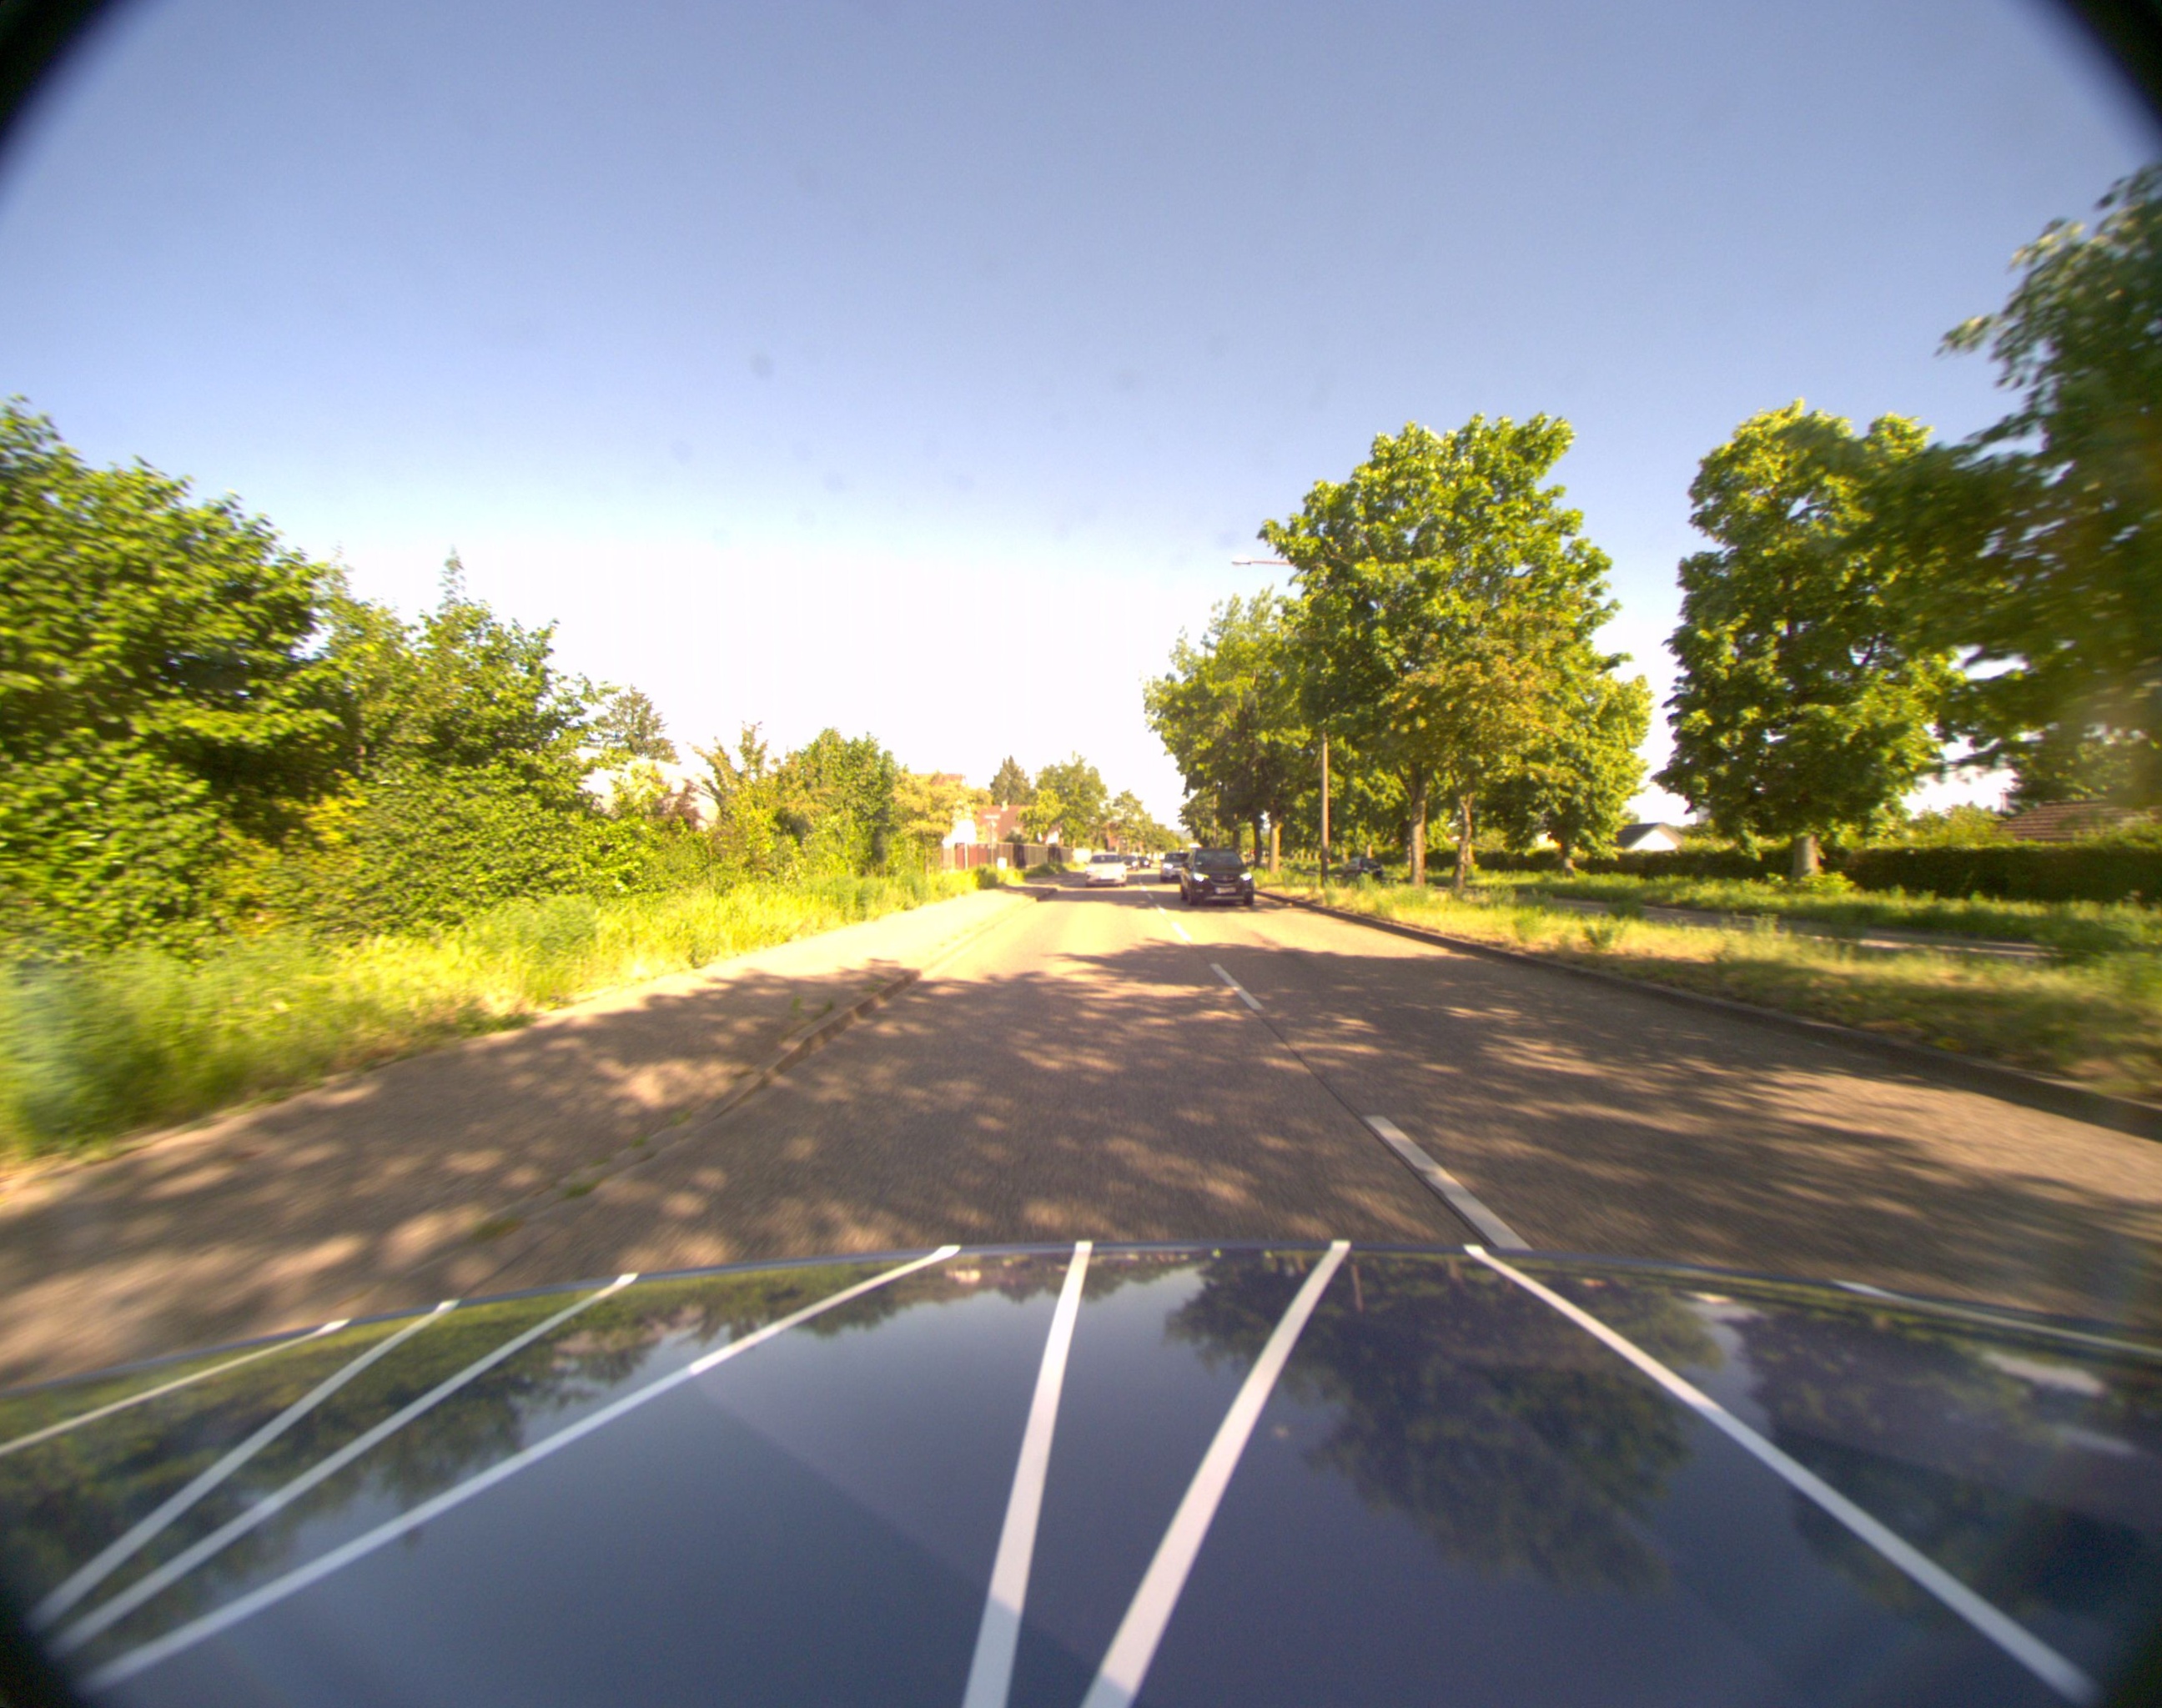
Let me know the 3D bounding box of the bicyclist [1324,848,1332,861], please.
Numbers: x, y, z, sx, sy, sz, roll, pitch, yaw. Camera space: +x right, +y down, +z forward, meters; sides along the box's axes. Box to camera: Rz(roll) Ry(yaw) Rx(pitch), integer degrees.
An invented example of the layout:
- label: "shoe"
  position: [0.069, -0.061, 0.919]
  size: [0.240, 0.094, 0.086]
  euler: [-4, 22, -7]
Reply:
- label: "bicyclist"
  position: [27.466, 0.039, 84.494]
  size: [0.691, 1.412, 1.001]
  euler: [0, 1, 7]

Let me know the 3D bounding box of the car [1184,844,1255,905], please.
- label: "car"
  position: [3.998, 0.531, 22.611]
  size: [1.810, 1.605, 4.516]
  euler: [0, 1, 7]

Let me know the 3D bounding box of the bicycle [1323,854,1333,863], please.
- label: "bicycle"
  position: [27.446, 0.470, 84.423]
  size: [0.691, 0.990, 1.842]
  euler: [0, 0, 7]

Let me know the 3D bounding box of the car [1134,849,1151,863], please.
- label: "car"
  position: [7.399, 0.204, 90.561]
  size: [1.822, 1.587, 4.274]
  euler: [-1, 1, 7]

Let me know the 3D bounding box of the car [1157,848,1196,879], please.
- label: "car"
  position: [5.091, 0.460, 40.009]
  size: [1.822, 1.553, 4.649]
  euler: [-1, 0, 10]

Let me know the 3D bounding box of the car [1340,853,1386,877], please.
- label: "car"
  position: [18.097, 0.665, 49.028]
  size: [1.695, 1.428, 4.943]
  euler: [2, 1, 8]

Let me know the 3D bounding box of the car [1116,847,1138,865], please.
- label: "car"
  position: [4.360, 0.135, 71.430]
  size: [1.822, 1.553, 4.274]
  euler: [0, 1, 8]

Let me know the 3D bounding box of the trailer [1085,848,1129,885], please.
- label: "trailer"
  position: [1.204, 0.543, 35.557]
  size: [1.897, 1.585, 4.000]
  euler: [-1, 0, 1]
